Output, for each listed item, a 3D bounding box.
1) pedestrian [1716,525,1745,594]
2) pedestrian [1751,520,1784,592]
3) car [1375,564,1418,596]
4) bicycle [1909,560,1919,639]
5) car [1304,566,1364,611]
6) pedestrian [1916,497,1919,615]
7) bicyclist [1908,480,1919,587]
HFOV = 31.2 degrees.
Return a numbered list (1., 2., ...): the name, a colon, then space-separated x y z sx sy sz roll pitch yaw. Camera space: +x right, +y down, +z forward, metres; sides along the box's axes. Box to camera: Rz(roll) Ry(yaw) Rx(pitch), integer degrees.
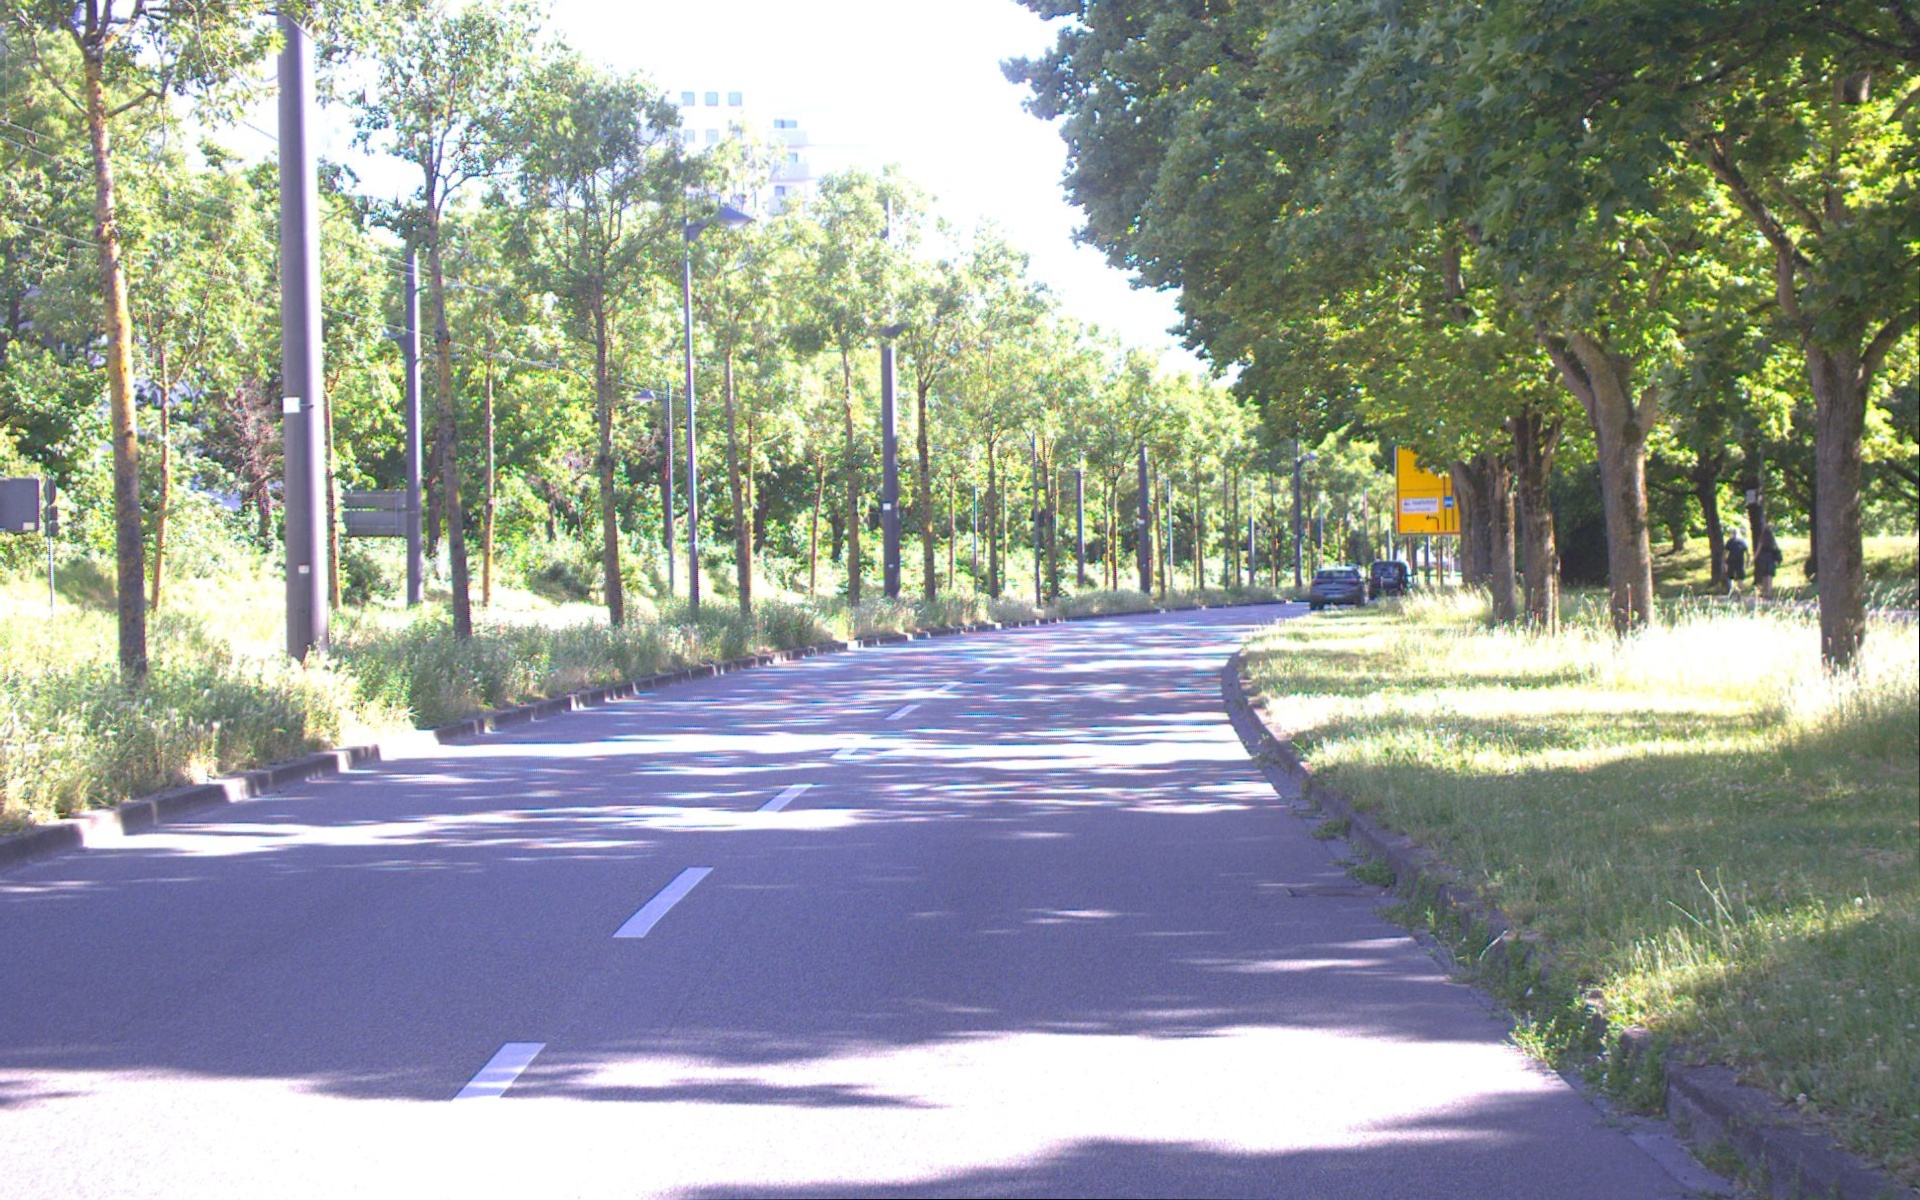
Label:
1. pedestrian: 18.433 -0.972 82.211 0.547 1.616 0.843 -1 0 20
2. pedestrian: 19.221 -1.043 81.854 0.636 1.686 0.843 -1 0 20
3. car: 20.387 -0.951 160.449 1.635 1.493 4.232 0 1 12
4. bicycle: 13.307 -0.025 46.637 0.795 1.043 2.141 -1 0 15
5. car: 12.742 -0.405 116.942 1.635 1.493 4.232 0 1 12
6. pedestrian: 14.915 -0.669 52.043 0.716 1.797 0.794 -1 0 7
7. bicyclist: 13.275 -0.908 46.611 0.790 1.445 0.844 -1 0 15
